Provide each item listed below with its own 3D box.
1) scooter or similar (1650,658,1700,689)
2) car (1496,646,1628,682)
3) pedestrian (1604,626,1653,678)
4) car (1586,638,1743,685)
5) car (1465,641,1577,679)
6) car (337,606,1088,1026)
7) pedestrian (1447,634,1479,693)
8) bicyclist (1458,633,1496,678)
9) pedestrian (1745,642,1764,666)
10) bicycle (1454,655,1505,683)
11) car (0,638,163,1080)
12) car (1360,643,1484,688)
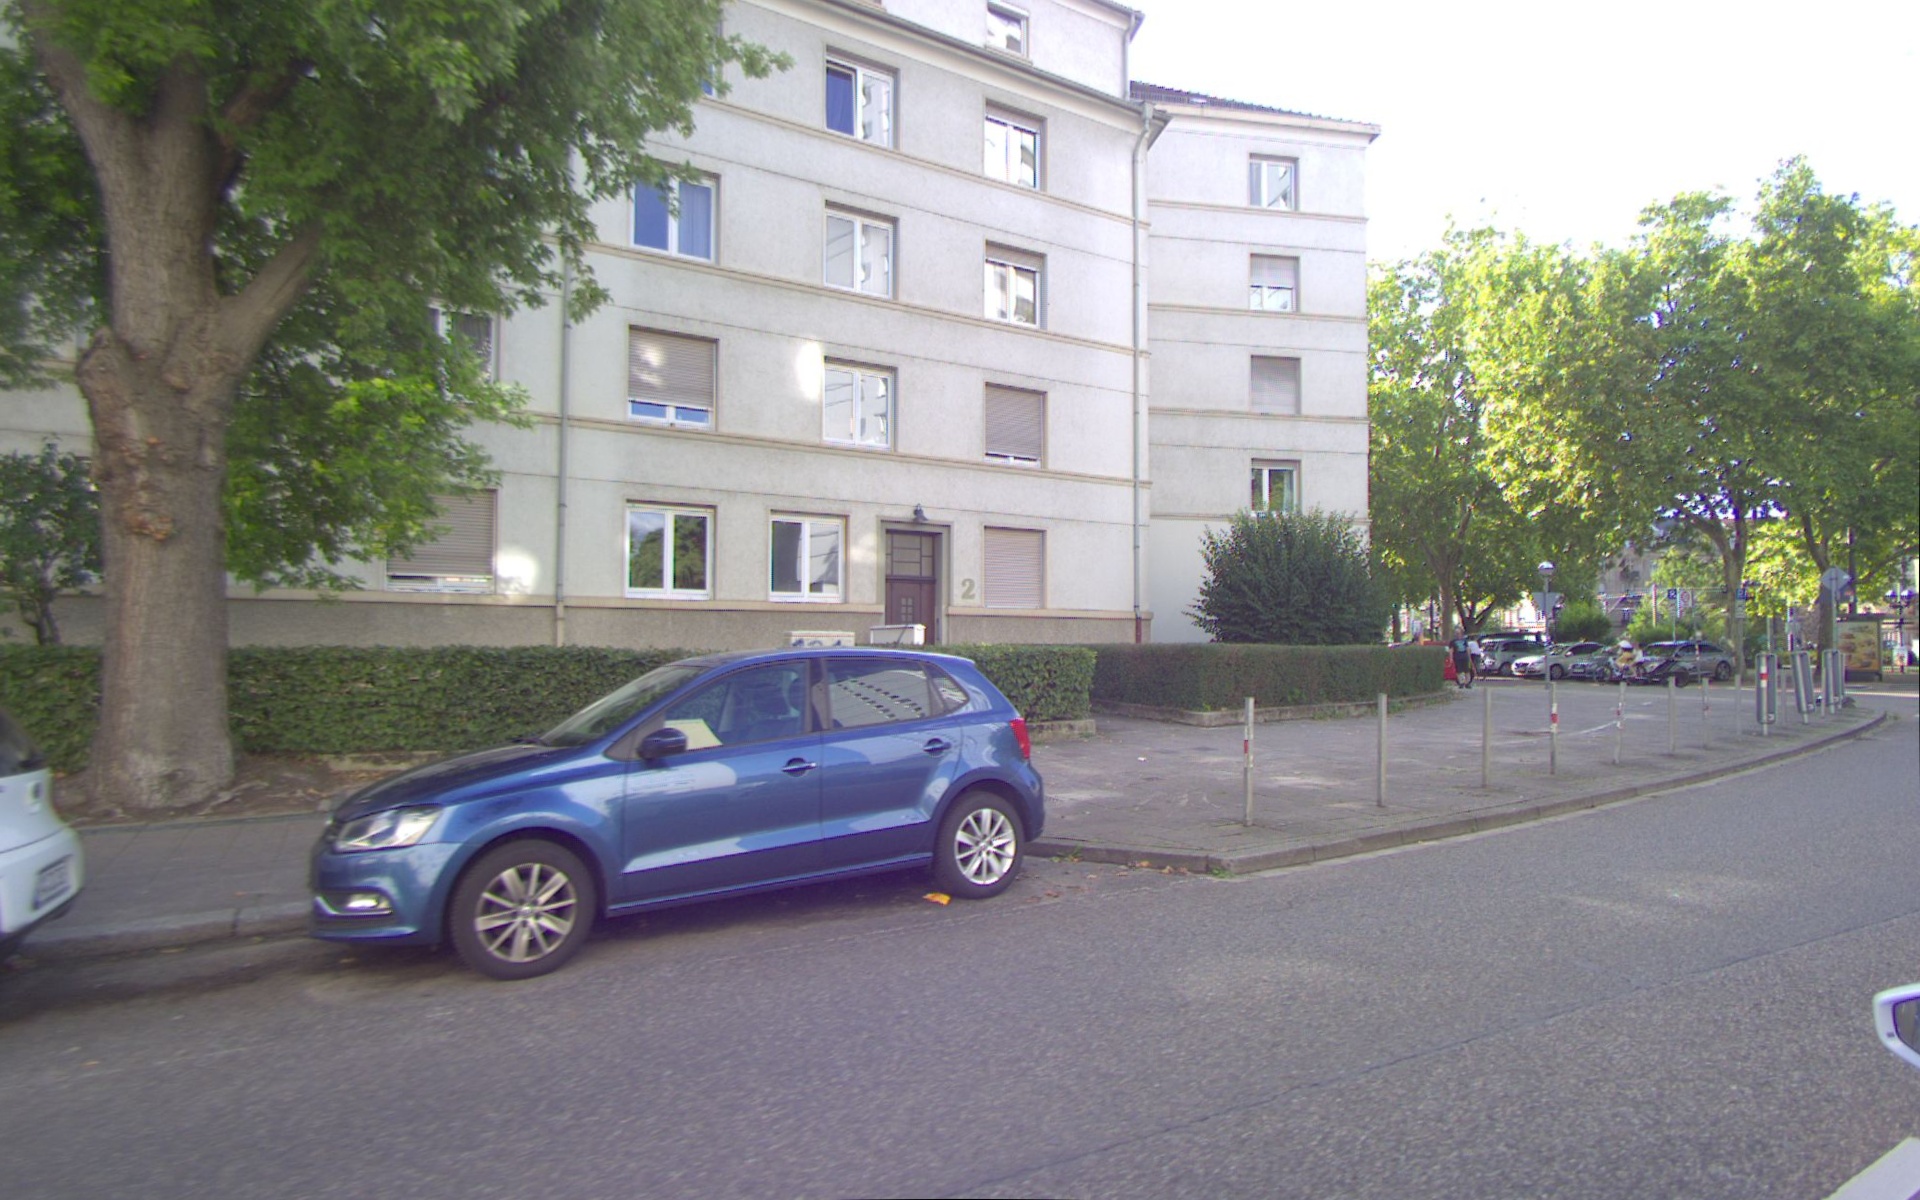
[{"bbox_3d":[22.432,2.297,31.523,0.796,0.935,1.009,1,-2,-22],"label":"scooter or similar"},{"bbox_3d":[24.565,2.599,41.039,4.753,1.395,1.669,1,-3,-12],"label":"car"},{"bbox_3d":[21.827,1.695,32.813,0.807,1.676,1.067,1,-2,-31],"label":"pedestrian"},{"bbox_3d":[25.464,2.203,36.344,4.897,1.606,2.232,1,-3,-19],"label":"car"},{"bbox_3d":[24.530,2.610,43.935,4.201,1.638,1.680,1,-2,-12],"label":"car"},{"bbox_3d":[-1.313,0.959,5.739,3.760,1.641,1.790,2,-5,-32],"label":"car"},{"bbox_3d":[13.784,1.733,27.559,0.720,1.599,0.732,-1,-2,24],"label":"pedestrian"},{"bbox_3d":[19.970,2.133,38.801,0.800,1.714,1.112,0,-2,-9],"label":"bicyclist"},{"bbox_3d":[43.749,2.962,55.306,0.711,1.305,0.816,1,0,31],"label":"pedestrian"},{"bbox_3d":[19.961,2.629,38.641,0.749,1.007,1.924,1,-2,-9],"label":"bicycle"},{"bbox_3d":[-5.286,0.919,3.391,3.757,1.512,1.792,1,-5,-29],"label":"car"},{"bbox_3d":[15.917,2.251,34.679,3.639,1.497,1.594,1,-2,-9],"label":"car"}]
